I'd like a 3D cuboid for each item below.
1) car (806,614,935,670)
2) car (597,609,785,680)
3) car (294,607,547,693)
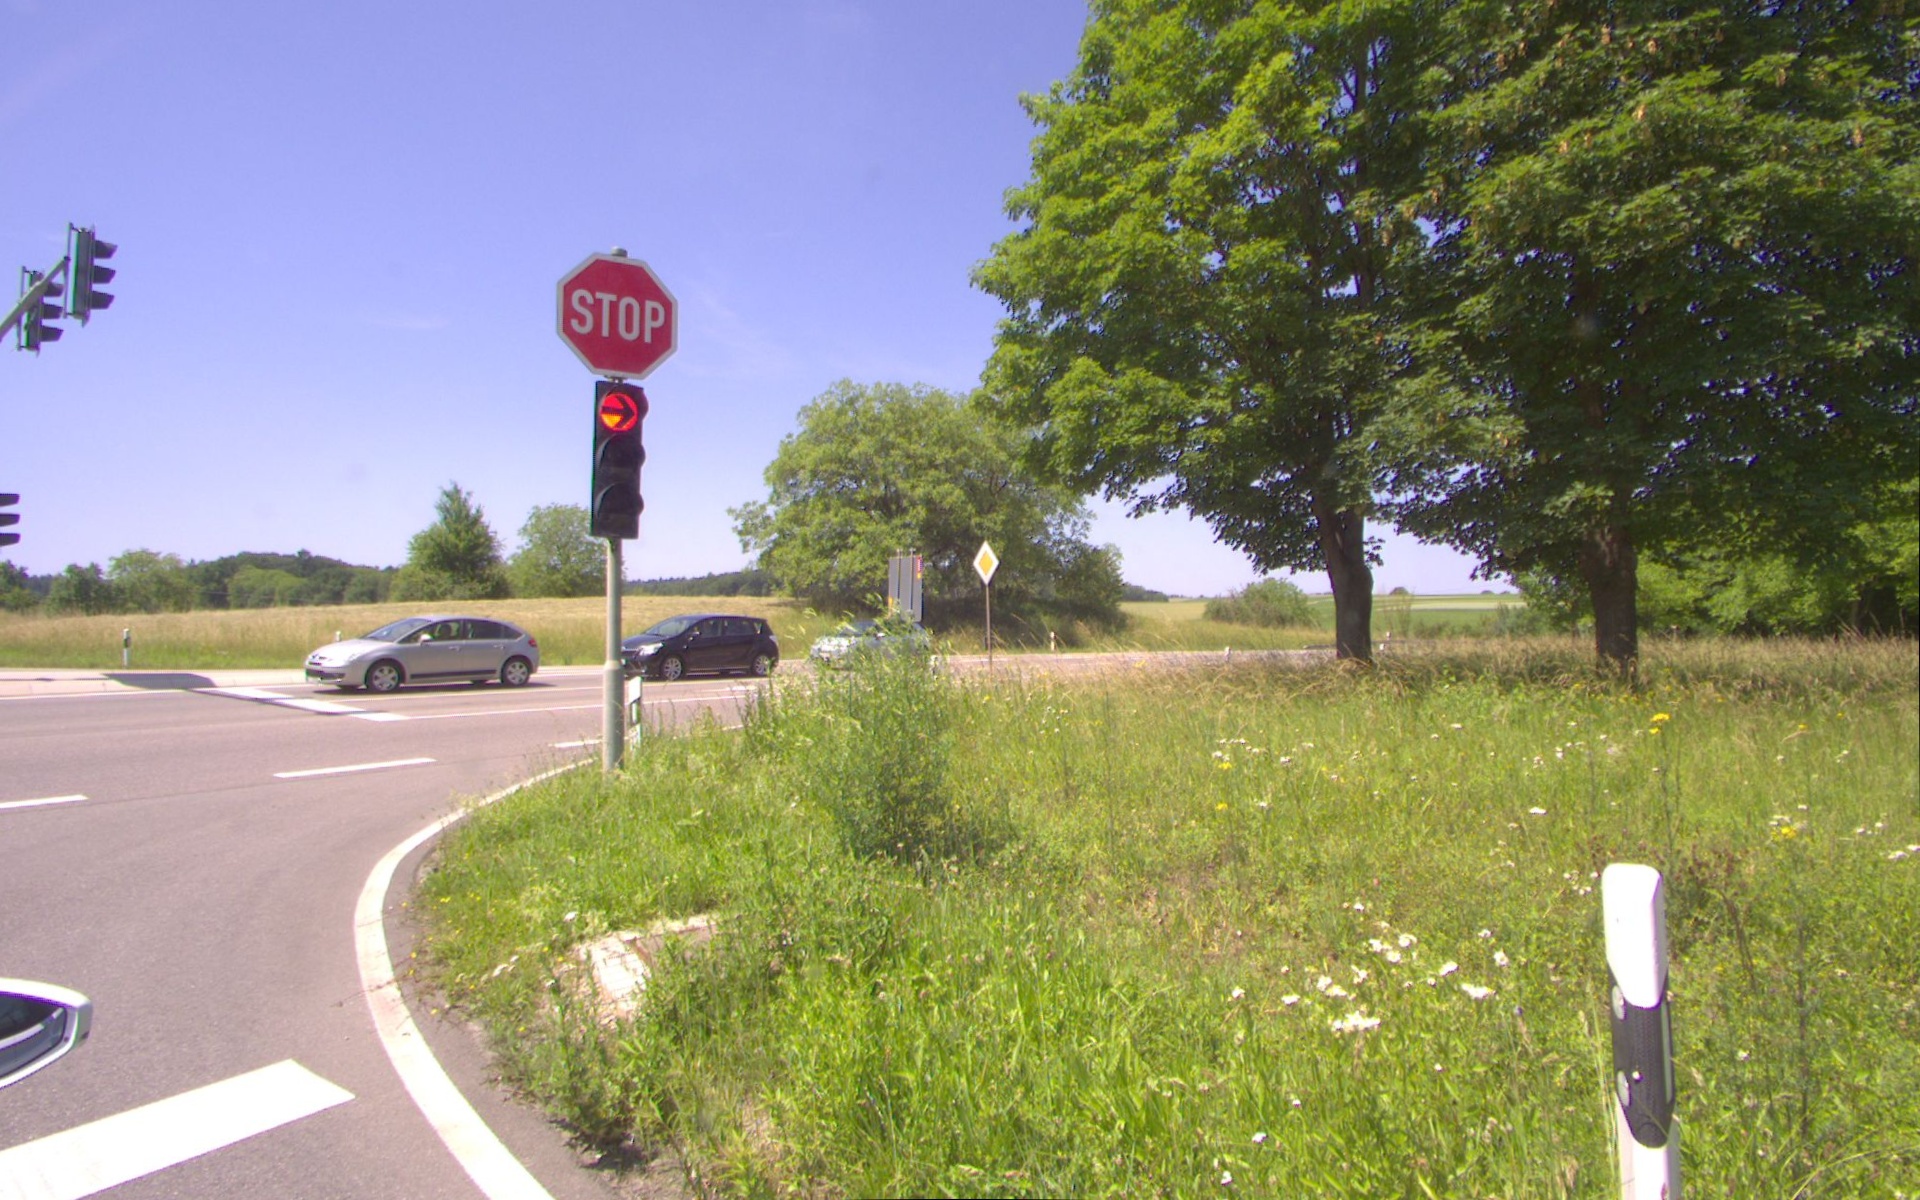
[{"bbox_3d":[-2.715,1.294,31.086,1.635,1.573,3.991,2,0,40],"label":"car"},{"bbox_3d":[-6.660,1.087,25.148,1.708,1.573,4.350,2,0,40],"label":"car"},{"bbox_3d":[-10.698,0.965,20.128,1.707,1.489,4.143,2,0,37],"label":"car"}]
